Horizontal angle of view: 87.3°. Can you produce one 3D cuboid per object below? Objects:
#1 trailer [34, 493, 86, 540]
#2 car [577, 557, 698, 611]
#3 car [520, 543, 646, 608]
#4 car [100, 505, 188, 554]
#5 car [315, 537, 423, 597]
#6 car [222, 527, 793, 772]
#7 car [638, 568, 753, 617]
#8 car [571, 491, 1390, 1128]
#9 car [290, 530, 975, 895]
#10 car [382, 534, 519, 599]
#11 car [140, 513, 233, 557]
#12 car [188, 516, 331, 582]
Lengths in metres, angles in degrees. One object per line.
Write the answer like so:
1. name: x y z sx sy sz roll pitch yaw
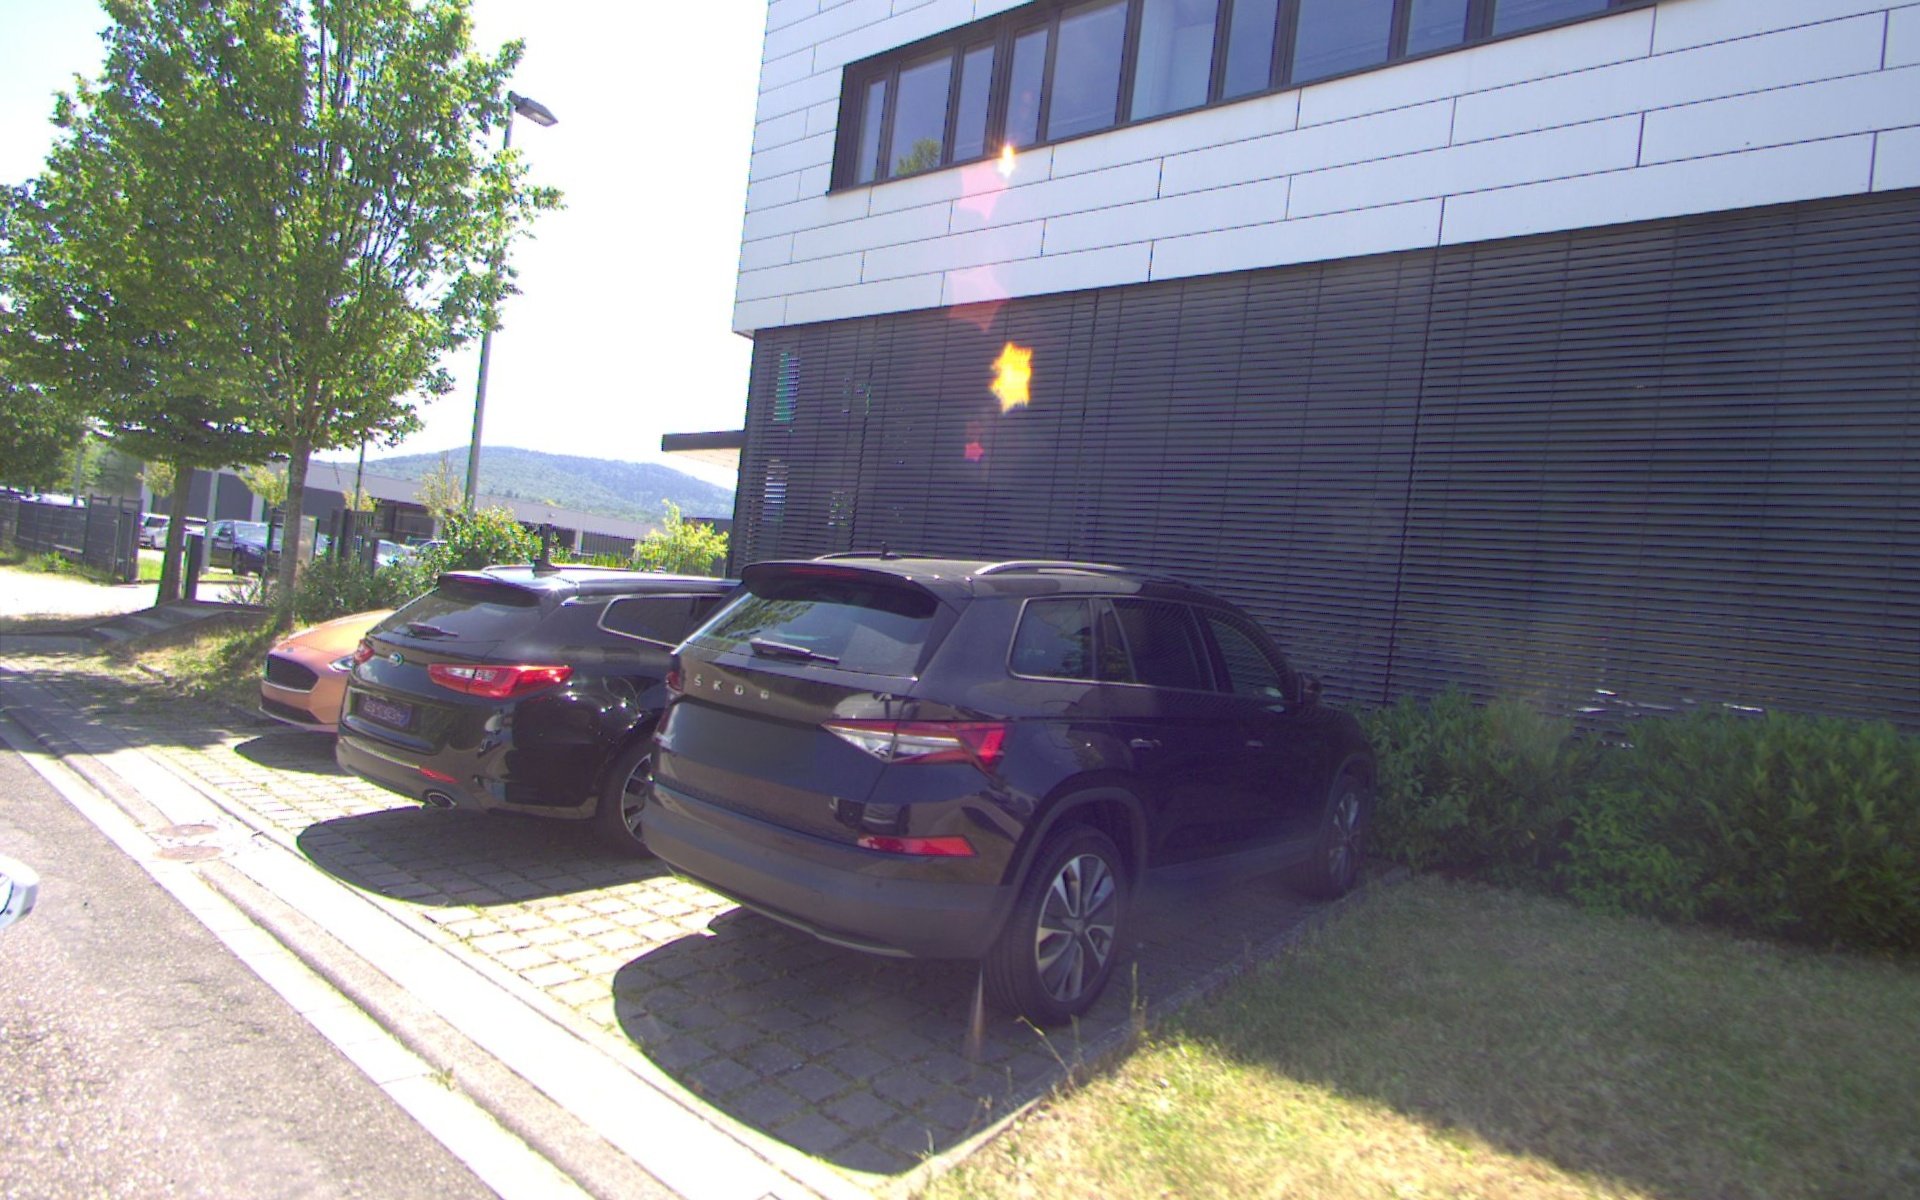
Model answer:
1. trailer: -46.731 -4.363 52.209 3.216 2.033 1.490 9 3 40
2. car: -11.910 -0.616 37.066 4.448 1.642 1.911 4 -1 36
3. car: -13.219 -0.877 35.170 4.448 1.923 1.911 4 -1 36
4. car: -34.503 -3.007 42.500 4.353 1.550 1.789 8 1 37
5. car: -20.201 -1.131 34.329 3.960 1.511 1.645 8 2 36
6. car: -3.477 0.378 8.420 1.698 1.514 3.984 4 0 36
7. car: -10.361 -0.296 39.303 4.448 1.552 1.911 4 -1 36
8. car: 0.473 0.651 4.871 1.701 1.788 3.979 6 1 41
9. car: -1.744 0.549 6.349 1.755 1.514 3.709 6 1 36
10. car: -15.837 -1.057 31.199 4.581 1.673 1.839 4 -1 36
11. car: -30.377 -2.566 39.460 4.081 1.450 1.789 4 -1 37
12. car: -18.865 -1.386 27.017 4.343 1.472 1.789 4 -1 36
